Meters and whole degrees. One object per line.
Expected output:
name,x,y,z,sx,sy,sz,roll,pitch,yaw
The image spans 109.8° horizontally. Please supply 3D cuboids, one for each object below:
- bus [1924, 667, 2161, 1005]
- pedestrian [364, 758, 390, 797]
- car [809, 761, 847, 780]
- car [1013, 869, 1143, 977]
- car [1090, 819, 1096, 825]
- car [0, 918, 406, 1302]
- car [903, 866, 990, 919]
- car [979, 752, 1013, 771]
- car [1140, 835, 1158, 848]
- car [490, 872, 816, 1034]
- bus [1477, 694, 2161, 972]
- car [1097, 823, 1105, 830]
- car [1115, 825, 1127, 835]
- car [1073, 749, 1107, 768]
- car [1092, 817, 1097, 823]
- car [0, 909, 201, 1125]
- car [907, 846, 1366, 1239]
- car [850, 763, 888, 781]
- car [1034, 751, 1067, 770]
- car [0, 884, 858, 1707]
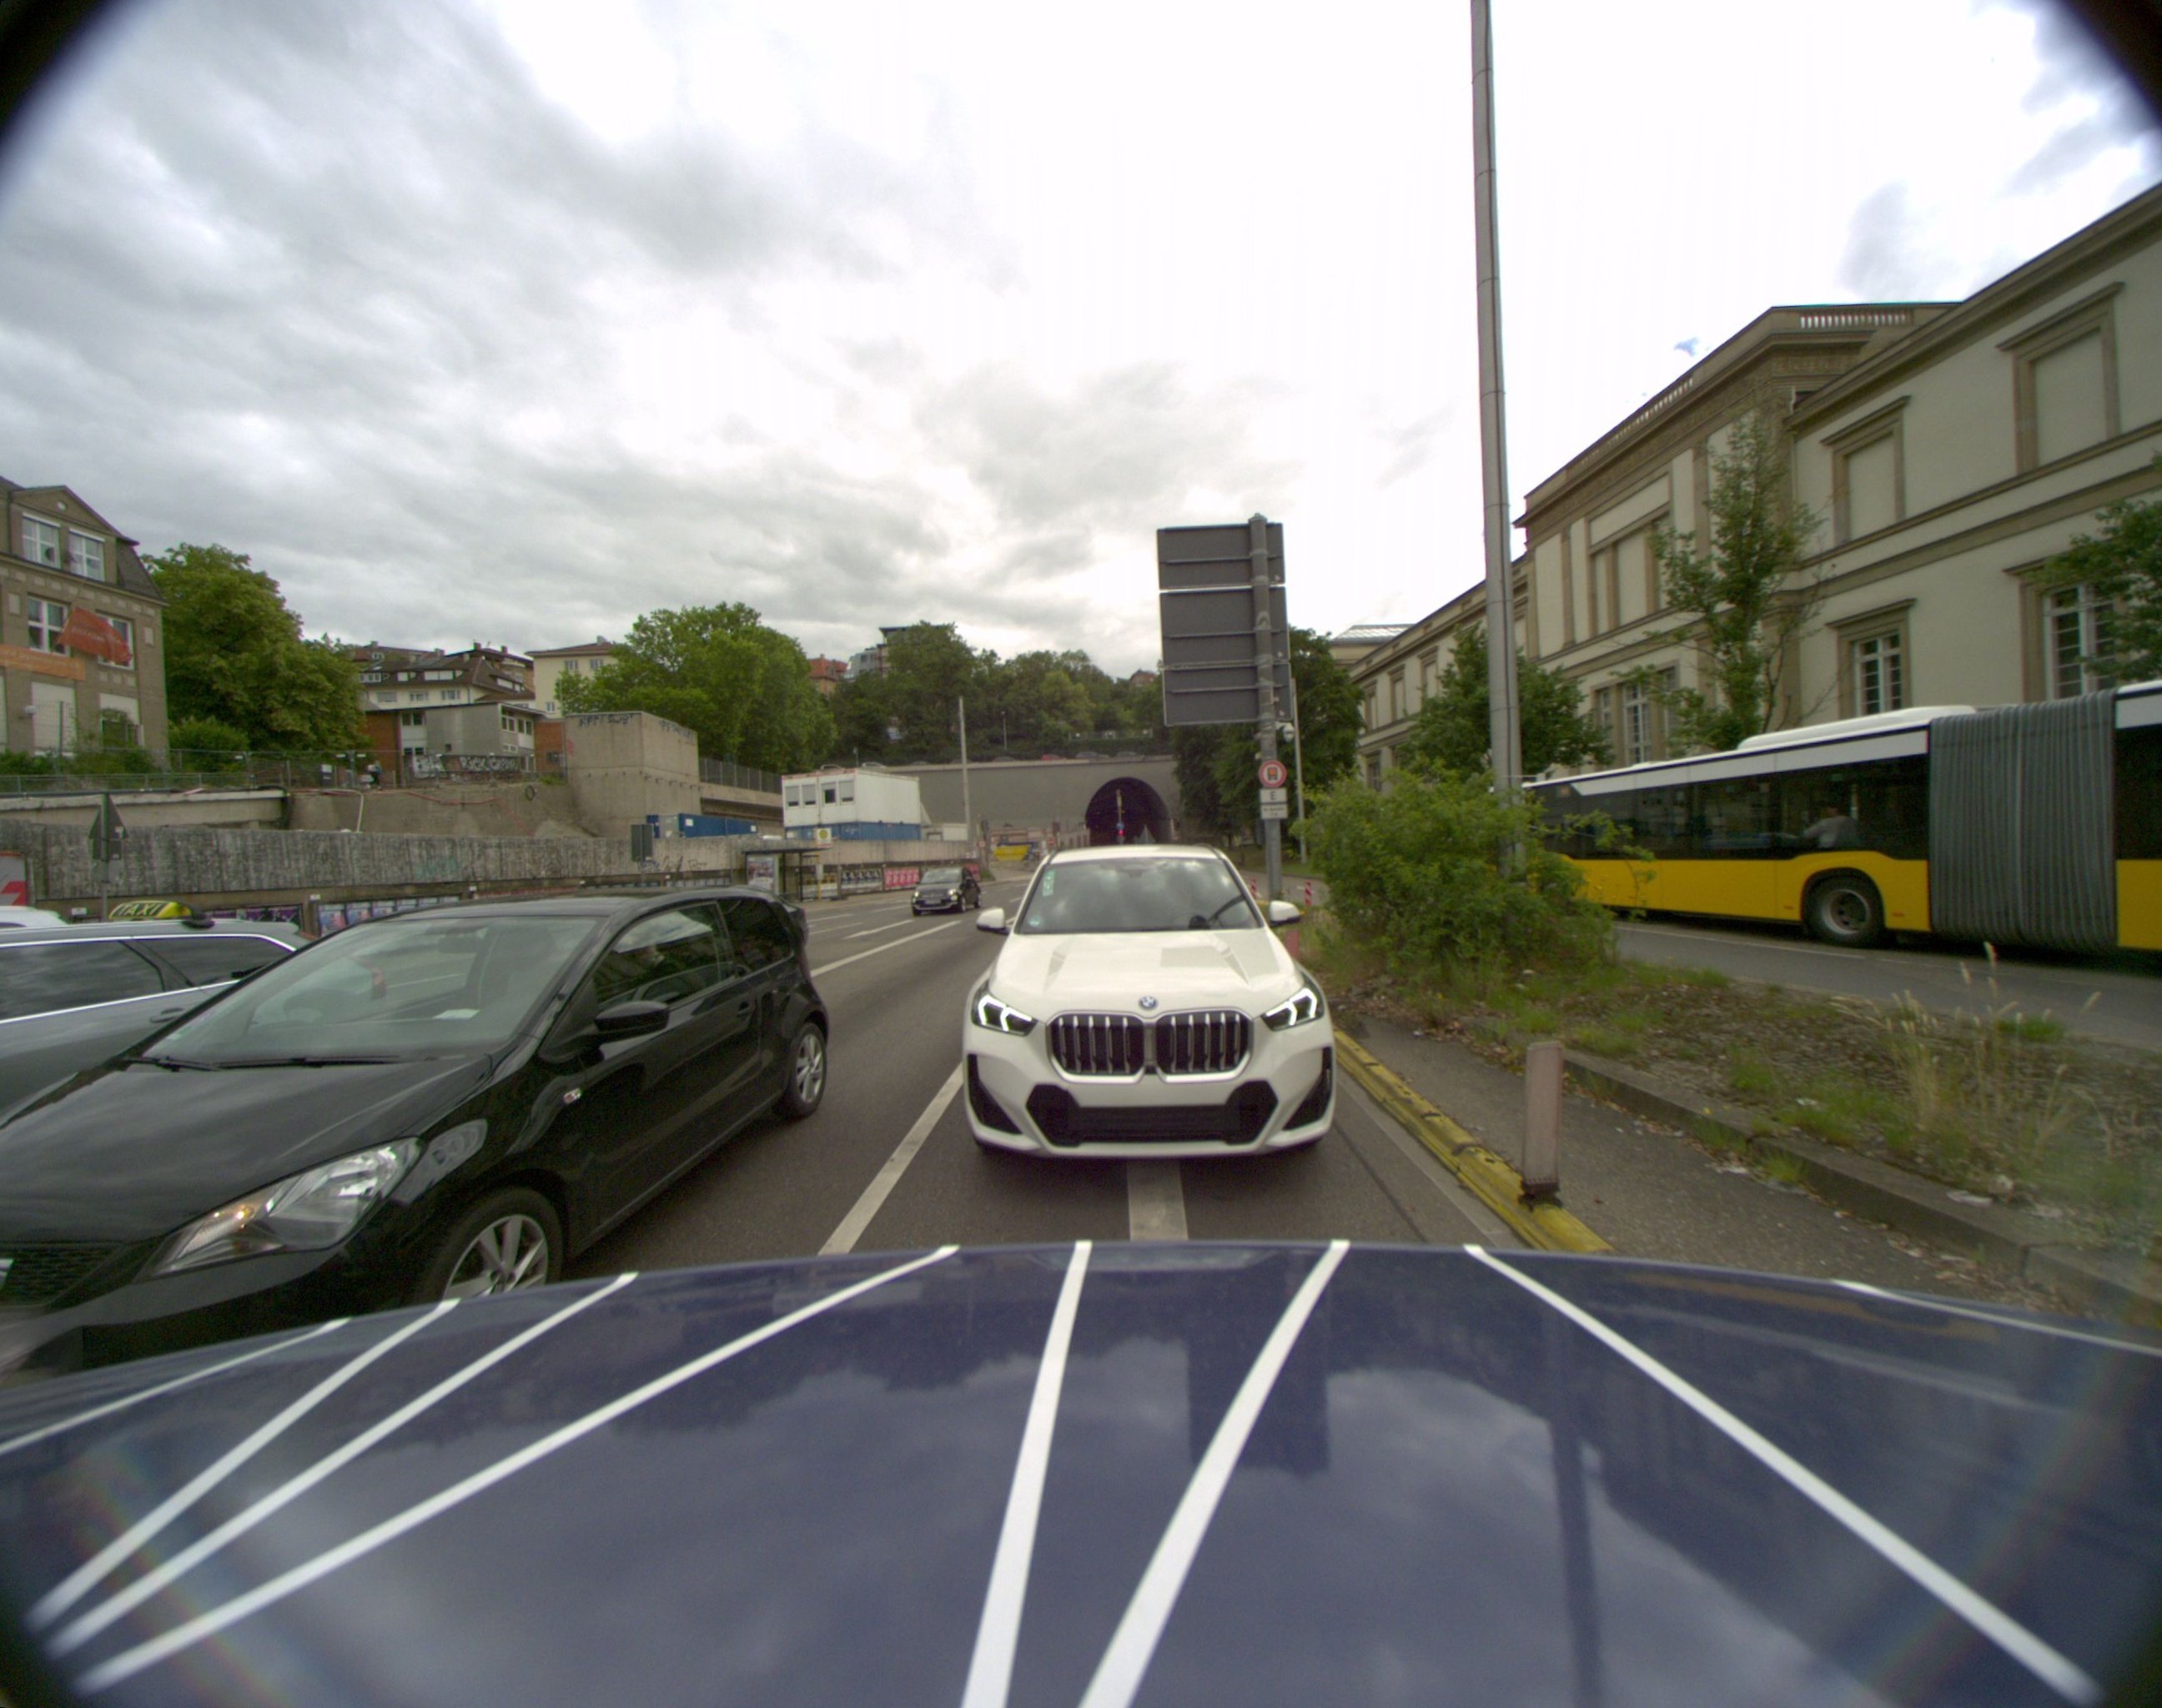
bus,11.324,-0.219,4.303,2.853,3.096,9.121,-3,0,0
pedestrian,-37.538,-4.063,40.517,0.646,2.002,0.666,-2,1,-3
car,-31.073,-10.263,93.316,3.998,2.002,1.999,-2,1,-5
car,-0.012,0.990,12.433,1.728,1.310,4.000,-3,0,1
car,3.670,-10.072,237.621,1.711,1.505,4.288,-3,0,-1
car,-5.872,1.301,3.115,1.826,1.562,4.654,-3,0,3
car,-4.315,1.196,24.986,1.730,1.435,4.001,-3,0,5
car,-10.494,-11.402,94.016,3.998,2.002,1.999,-2,1,-2
car,8.293,-1.481,93.216,1.705,1.463,4.629,-3,0,-1
car,-5.465,1.137,10.558,1.704,1.550,4.551,-3,0,3
bus,11.229,-0.254,13.666,2.853,3.096,9.747,-3,0,-1
car,4.773,-6.500,181.459,1.711,1.505,4.287,0,0,-3
car,6.903,-4.077,130.002,1.701,1.580,3.882,-3,0,-1
car,1.091,-11.829,94.496,3.998,2.002,1.999,-2,1,-2
car,4.261,-10.598,236.799,1.667,1.582,3.882,-1,0,2
car,-9.130,1.340,4.837,1.705,1.550,4.550,-3,0,-1
car,0.293,0.796,5.131,1.848,1.581,3.882,-3,0,2
car,-26.024,-10.075,93.380,3.998,2.002,1.999,-2,1,-5
car,-3.787,-11.651,94.411,3.998,2.002,1.999,-2,1,-2
car,-2.507,1.000,3.420,1.667,1.487,3.882,-3,0,2
